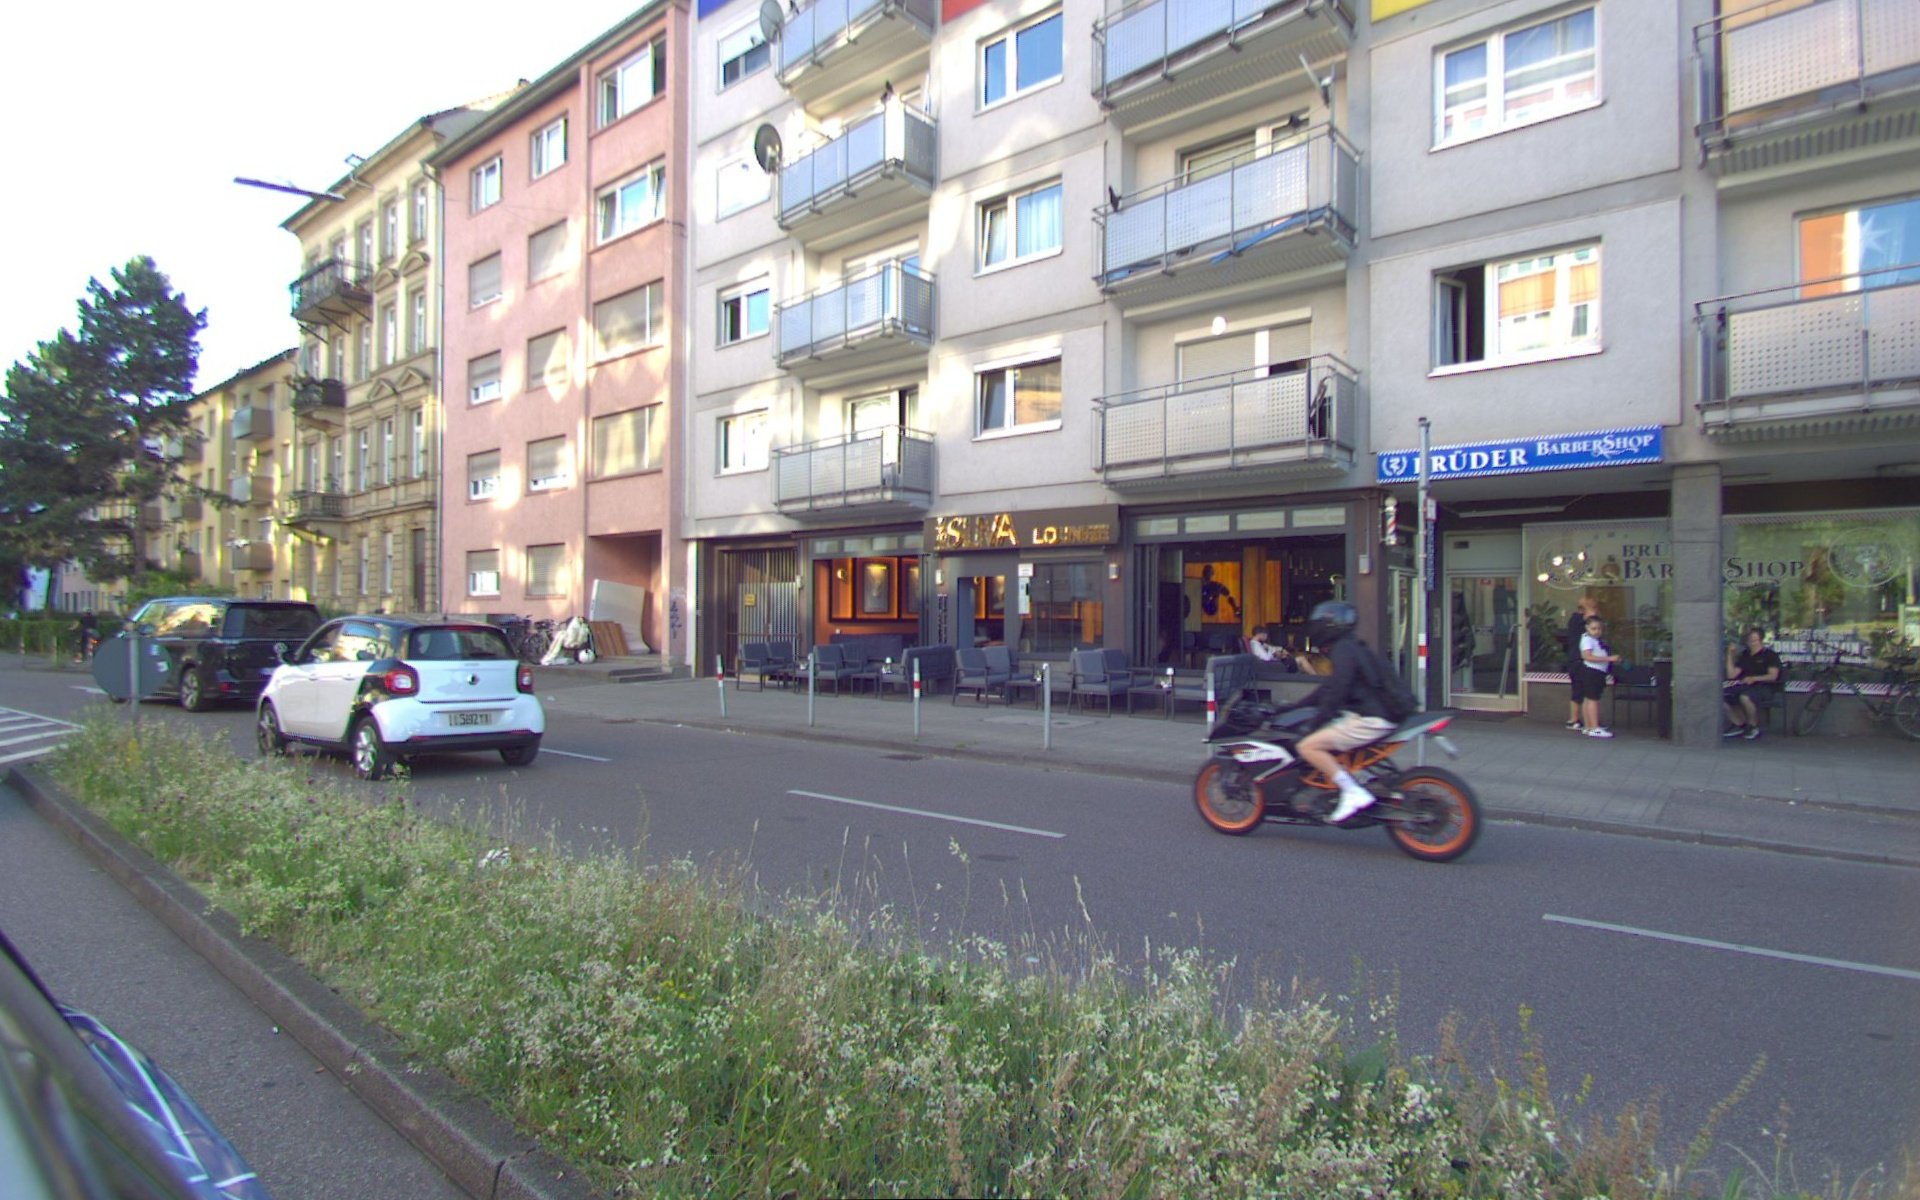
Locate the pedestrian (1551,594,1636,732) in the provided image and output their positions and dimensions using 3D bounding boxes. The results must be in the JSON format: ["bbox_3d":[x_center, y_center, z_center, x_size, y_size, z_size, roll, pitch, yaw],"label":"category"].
[{"bbox_3d":[7.924,0.777,12.684,0.650,1.685,0.625,0,-1,5],"label":"pedestrian"}]

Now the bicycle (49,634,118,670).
[{"bbox_3d":[-26.649,1.566,30.759,2.270,1.045,0.542,-1,-1,20],"label":"bicycle"}]

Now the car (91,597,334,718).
[{"bbox_3d":[-13.183,0.943,17.774,4.686,1.868,1.875,-1,-2,33],"label":"car"}]

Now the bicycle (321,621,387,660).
[{"bbox_3d":[-19.272,1.272,32.232,0.473,1.200,1.758,-1,-2,38],"label":"bicycle"}]

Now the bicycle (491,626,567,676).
[{"bbox_3d":[-10.877,1.262,25.594,0.473,1.200,1.758,-1,-2,38],"label":"bicycle"}]

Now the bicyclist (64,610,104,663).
[{"bbox_3d":[-26.630,1.095,30.766,0.853,1.581,0.542,-1,-1,20],"label":"bicyclist"}]

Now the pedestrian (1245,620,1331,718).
[{"bbox_3d":[4.755,0.974,14.661,0.882,1.357,0.961,-1,-2,40],"label":"pedestrian"}]

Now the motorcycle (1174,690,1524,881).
[{"bbox_3d":[2.522,1.146,6.735,2.046,0.970,0.741,-1,-2,40],"label":"motorcycle"}]

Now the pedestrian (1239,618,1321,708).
[{"bbox_3d":[5.054,0.969,15.975,0.974,1.357,0.871,-1,-2,40],"label":"pedestrian"}]

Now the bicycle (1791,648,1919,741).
[{"bbox_3d":[10.755,1.076,11.690,1.691,1.006,0.620,0,-1,32],"label":"bicycle"}]

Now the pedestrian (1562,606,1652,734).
[{"bbox_3d":[7.636,0.810,11.975,0.650,1.478,0.625,0,-1,5],"label":"pedestrian"}]

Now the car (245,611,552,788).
[{"bbox_3d":[-5.948,0.926,10.616,3.399,1.554,1.576,-1,-3,38],"label":"car"}]

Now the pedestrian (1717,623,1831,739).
[{"bbox_3d":[9.576,0.939,11.926,0.798,1.323,0.626,0,-1,-3],"label":"pedestrian"}]

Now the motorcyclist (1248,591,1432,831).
[{"bbox_3d":[2.526,0.692,6.741,0.957,1.452,0.741,-1,-3,39],"label":"motorcyclist"}]
